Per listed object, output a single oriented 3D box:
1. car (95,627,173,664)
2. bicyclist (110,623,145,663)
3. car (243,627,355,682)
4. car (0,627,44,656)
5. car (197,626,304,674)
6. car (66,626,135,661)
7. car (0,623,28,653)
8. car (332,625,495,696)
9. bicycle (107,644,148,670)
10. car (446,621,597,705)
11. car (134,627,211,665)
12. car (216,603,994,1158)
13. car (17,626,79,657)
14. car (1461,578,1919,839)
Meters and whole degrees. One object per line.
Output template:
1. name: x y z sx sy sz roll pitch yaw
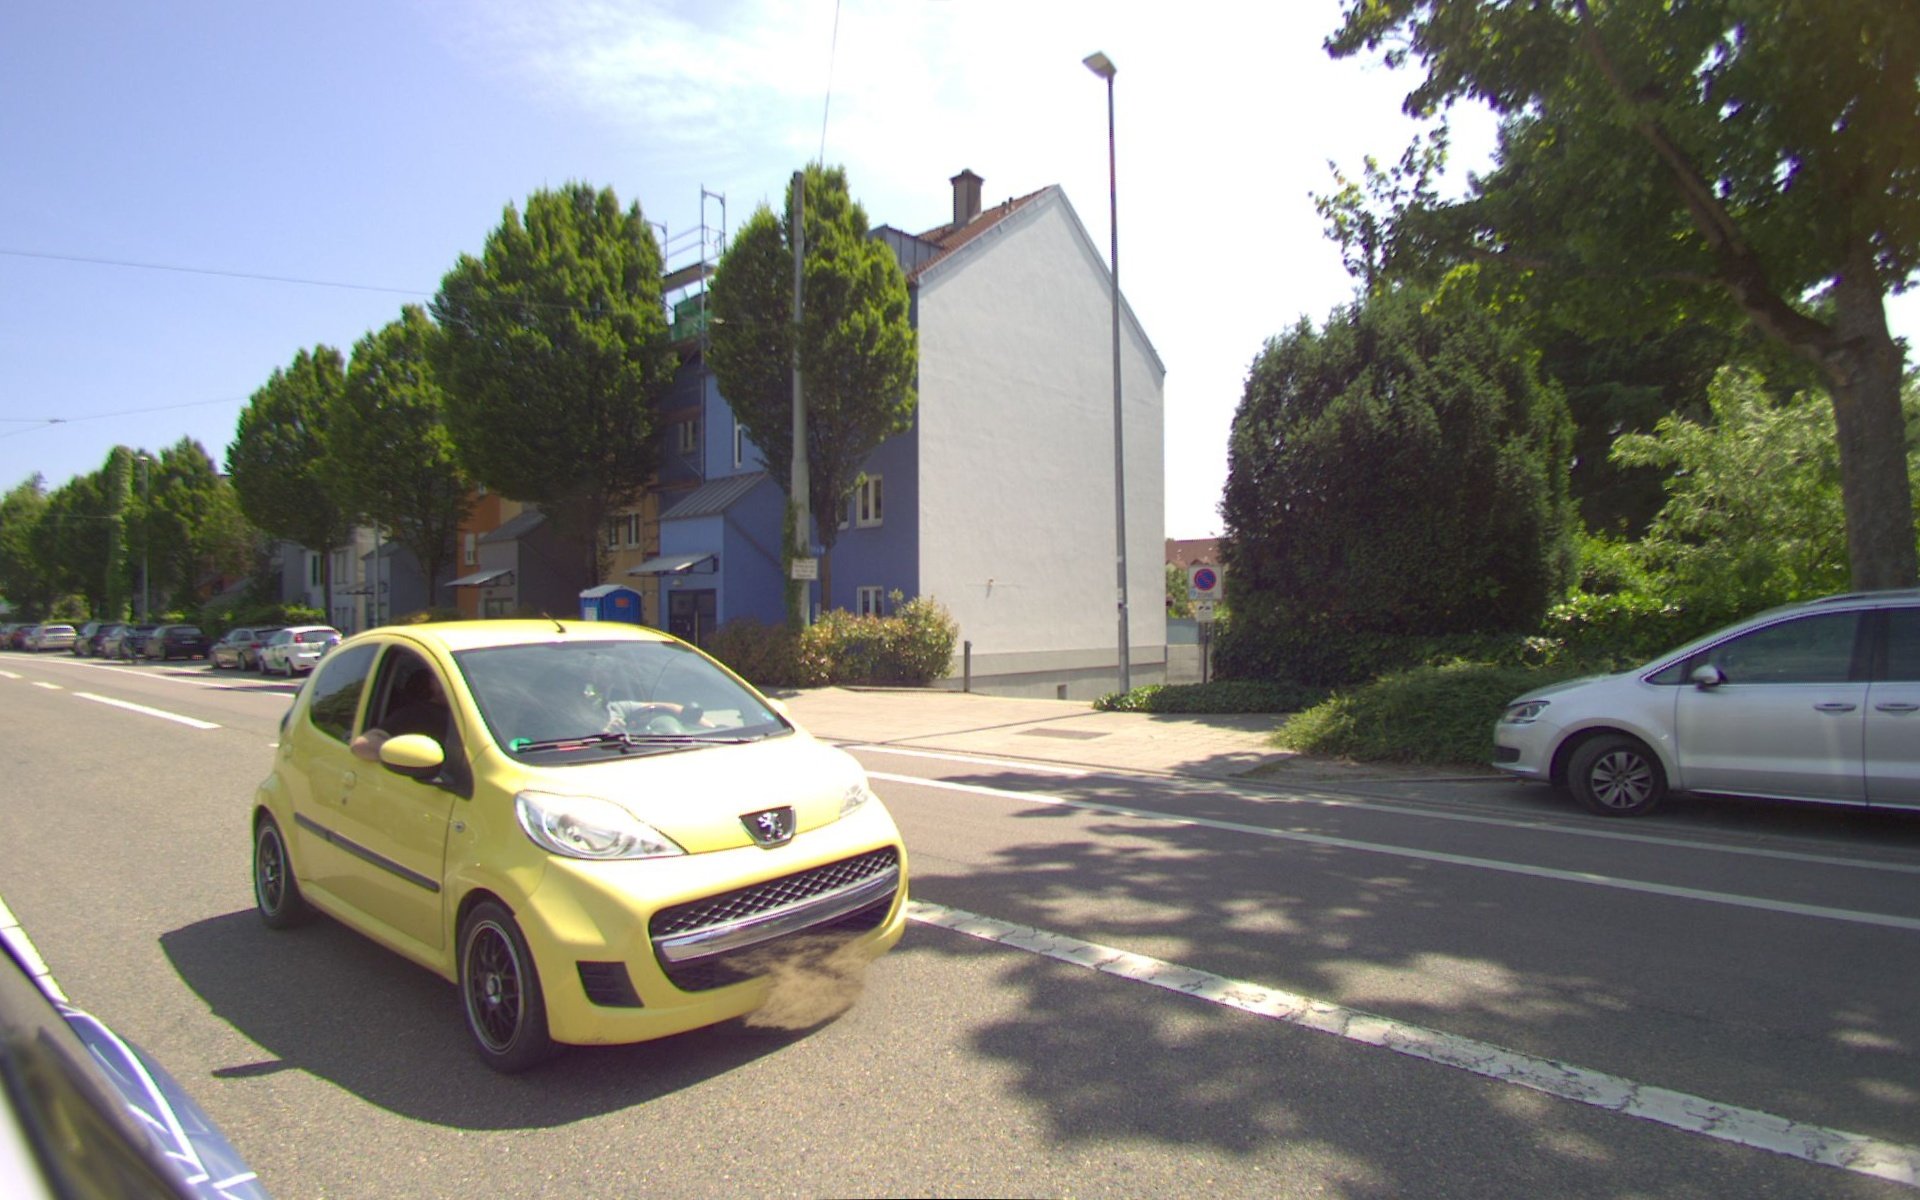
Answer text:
1. car: -37.635 2.039 46.090 4.752 1.507 1.807 -2 0 39
2. bicyclist: -31.229 1.620 37.960 1.123 1.442 0.728 -1 -5 38
3. car: -20.972 1.686 32.062 4.417 1.453 1.729 -2 3 41
4. car: -55.962 2.468 60.051 3.673 1.606 1.586 -2 0 35
5. car: -25.041 1.745 35.679 4.744 1.440 1.688 -2 3 38
6. car: -42.215 2.126 49.681 4.142 1.601 1.750 -2 0 38
7. car: -60.122 2.397 63.197 4.548 1.808 1.976 -1 -1 35
8. car: -13.755 1.475 25.335 5.129 1.461 1.769 -3 2 40
9. bicycle: -31.270 2.126 38.004 2.240 0.958 0.695 -2 -4 39
10. car: -9.455 1.296 21.729 3.447 1.506 1.577 -2 3 41
11. car: -33.414 1.930 42.900 4.254 1.443 1.732 -2 1 40
12. car: -1.752 0.777 4.448 3.513 1.421 1.673 -2 0 40
13. car: -51.107 2.327 56.681 4.490 1.594 1.823 -2 0 38
14. car: 6.522 0.706 7.419 4.778 1.677 1.853 -2 -1 41
